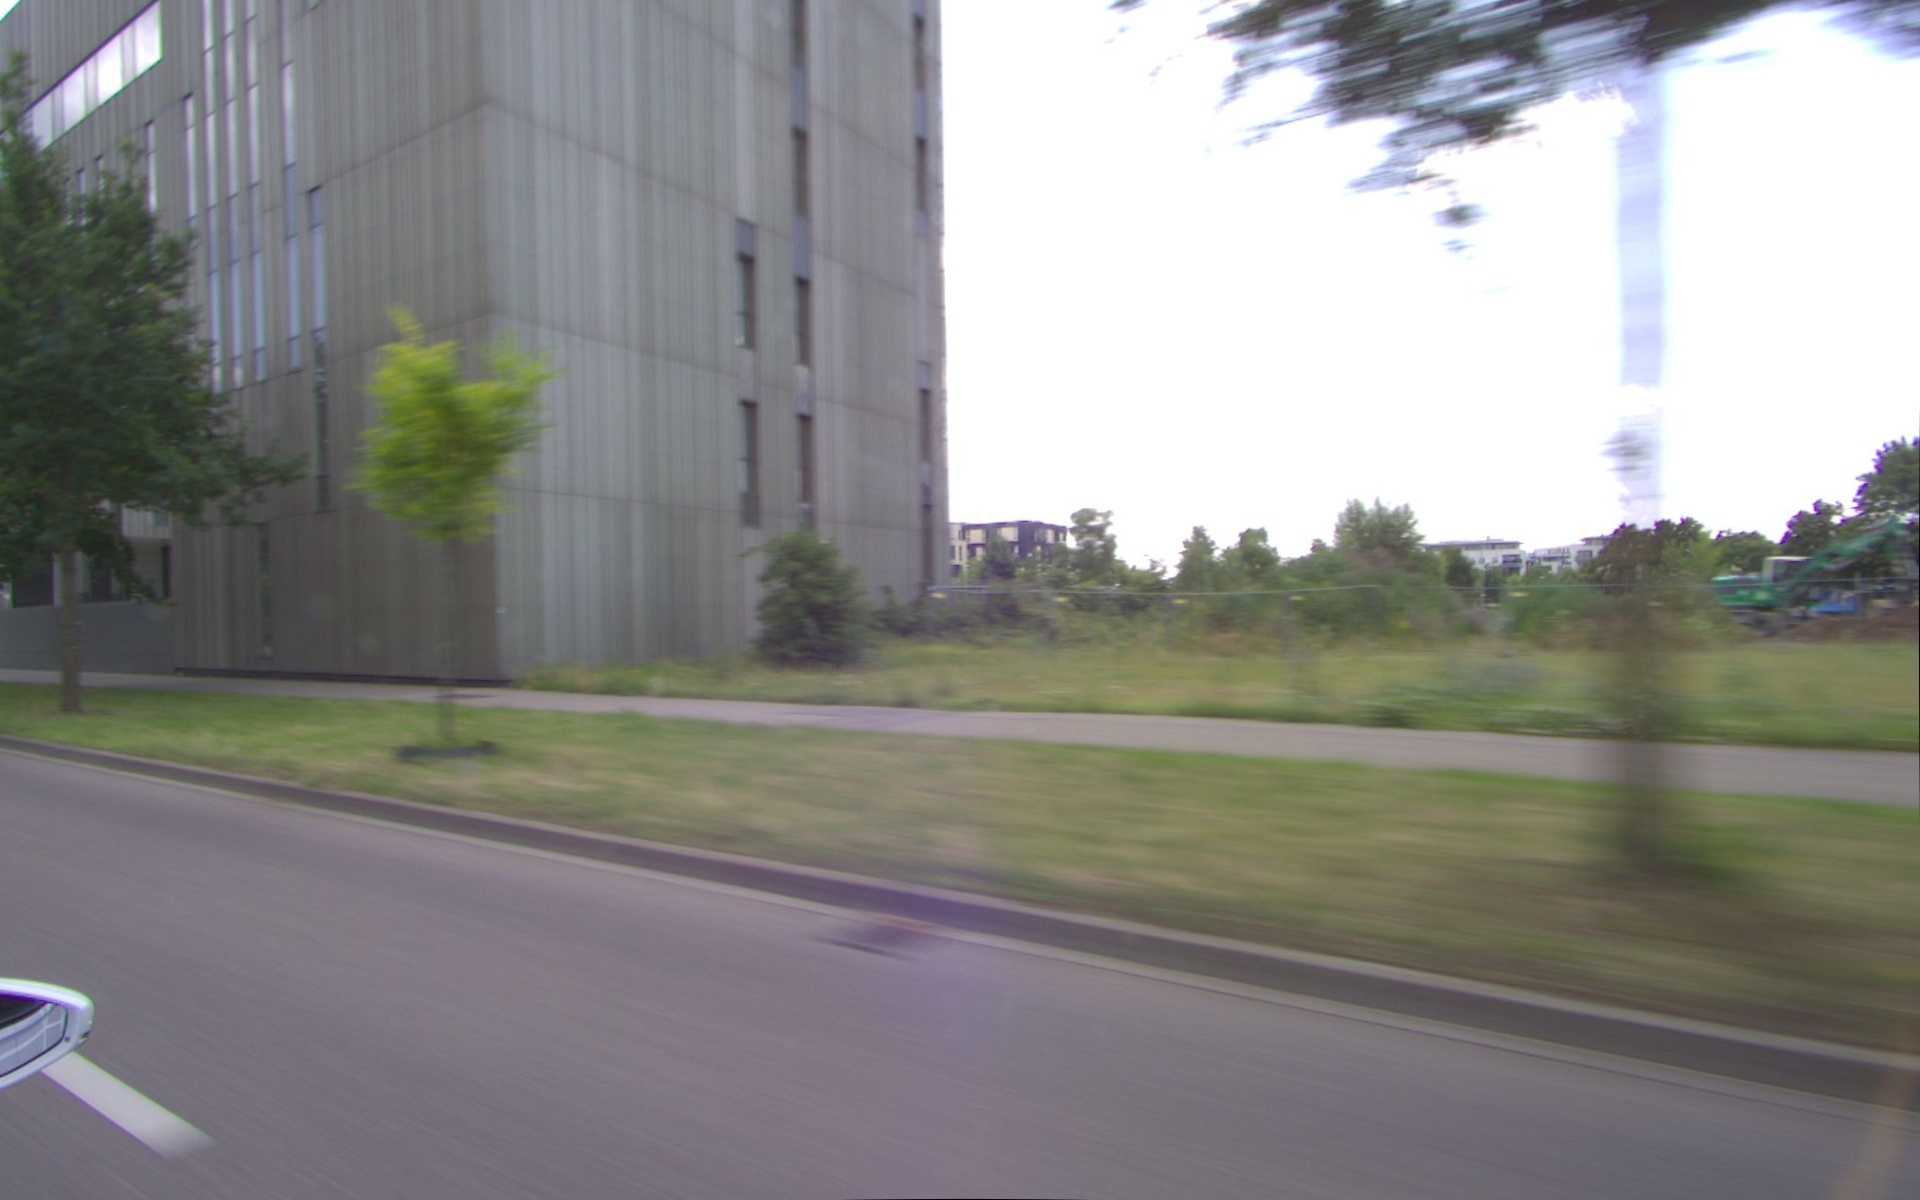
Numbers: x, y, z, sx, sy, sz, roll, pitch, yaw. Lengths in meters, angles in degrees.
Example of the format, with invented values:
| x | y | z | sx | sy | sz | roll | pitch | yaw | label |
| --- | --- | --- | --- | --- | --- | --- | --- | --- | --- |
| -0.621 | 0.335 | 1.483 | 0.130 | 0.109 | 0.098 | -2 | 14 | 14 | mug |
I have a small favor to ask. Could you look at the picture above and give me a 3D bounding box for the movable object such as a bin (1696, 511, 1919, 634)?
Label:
| x | y | z | sx | sy | sz | roll | pitch | yaw | label |
| --- | --- | --- | --- | --- | --- | --- | --- | --- | --- |
| 32.043 | -0.799 | 36.971 | 2.993 | 3.900 | 7.613 | 0 | -3 | -14 | movable object such as a bin |
